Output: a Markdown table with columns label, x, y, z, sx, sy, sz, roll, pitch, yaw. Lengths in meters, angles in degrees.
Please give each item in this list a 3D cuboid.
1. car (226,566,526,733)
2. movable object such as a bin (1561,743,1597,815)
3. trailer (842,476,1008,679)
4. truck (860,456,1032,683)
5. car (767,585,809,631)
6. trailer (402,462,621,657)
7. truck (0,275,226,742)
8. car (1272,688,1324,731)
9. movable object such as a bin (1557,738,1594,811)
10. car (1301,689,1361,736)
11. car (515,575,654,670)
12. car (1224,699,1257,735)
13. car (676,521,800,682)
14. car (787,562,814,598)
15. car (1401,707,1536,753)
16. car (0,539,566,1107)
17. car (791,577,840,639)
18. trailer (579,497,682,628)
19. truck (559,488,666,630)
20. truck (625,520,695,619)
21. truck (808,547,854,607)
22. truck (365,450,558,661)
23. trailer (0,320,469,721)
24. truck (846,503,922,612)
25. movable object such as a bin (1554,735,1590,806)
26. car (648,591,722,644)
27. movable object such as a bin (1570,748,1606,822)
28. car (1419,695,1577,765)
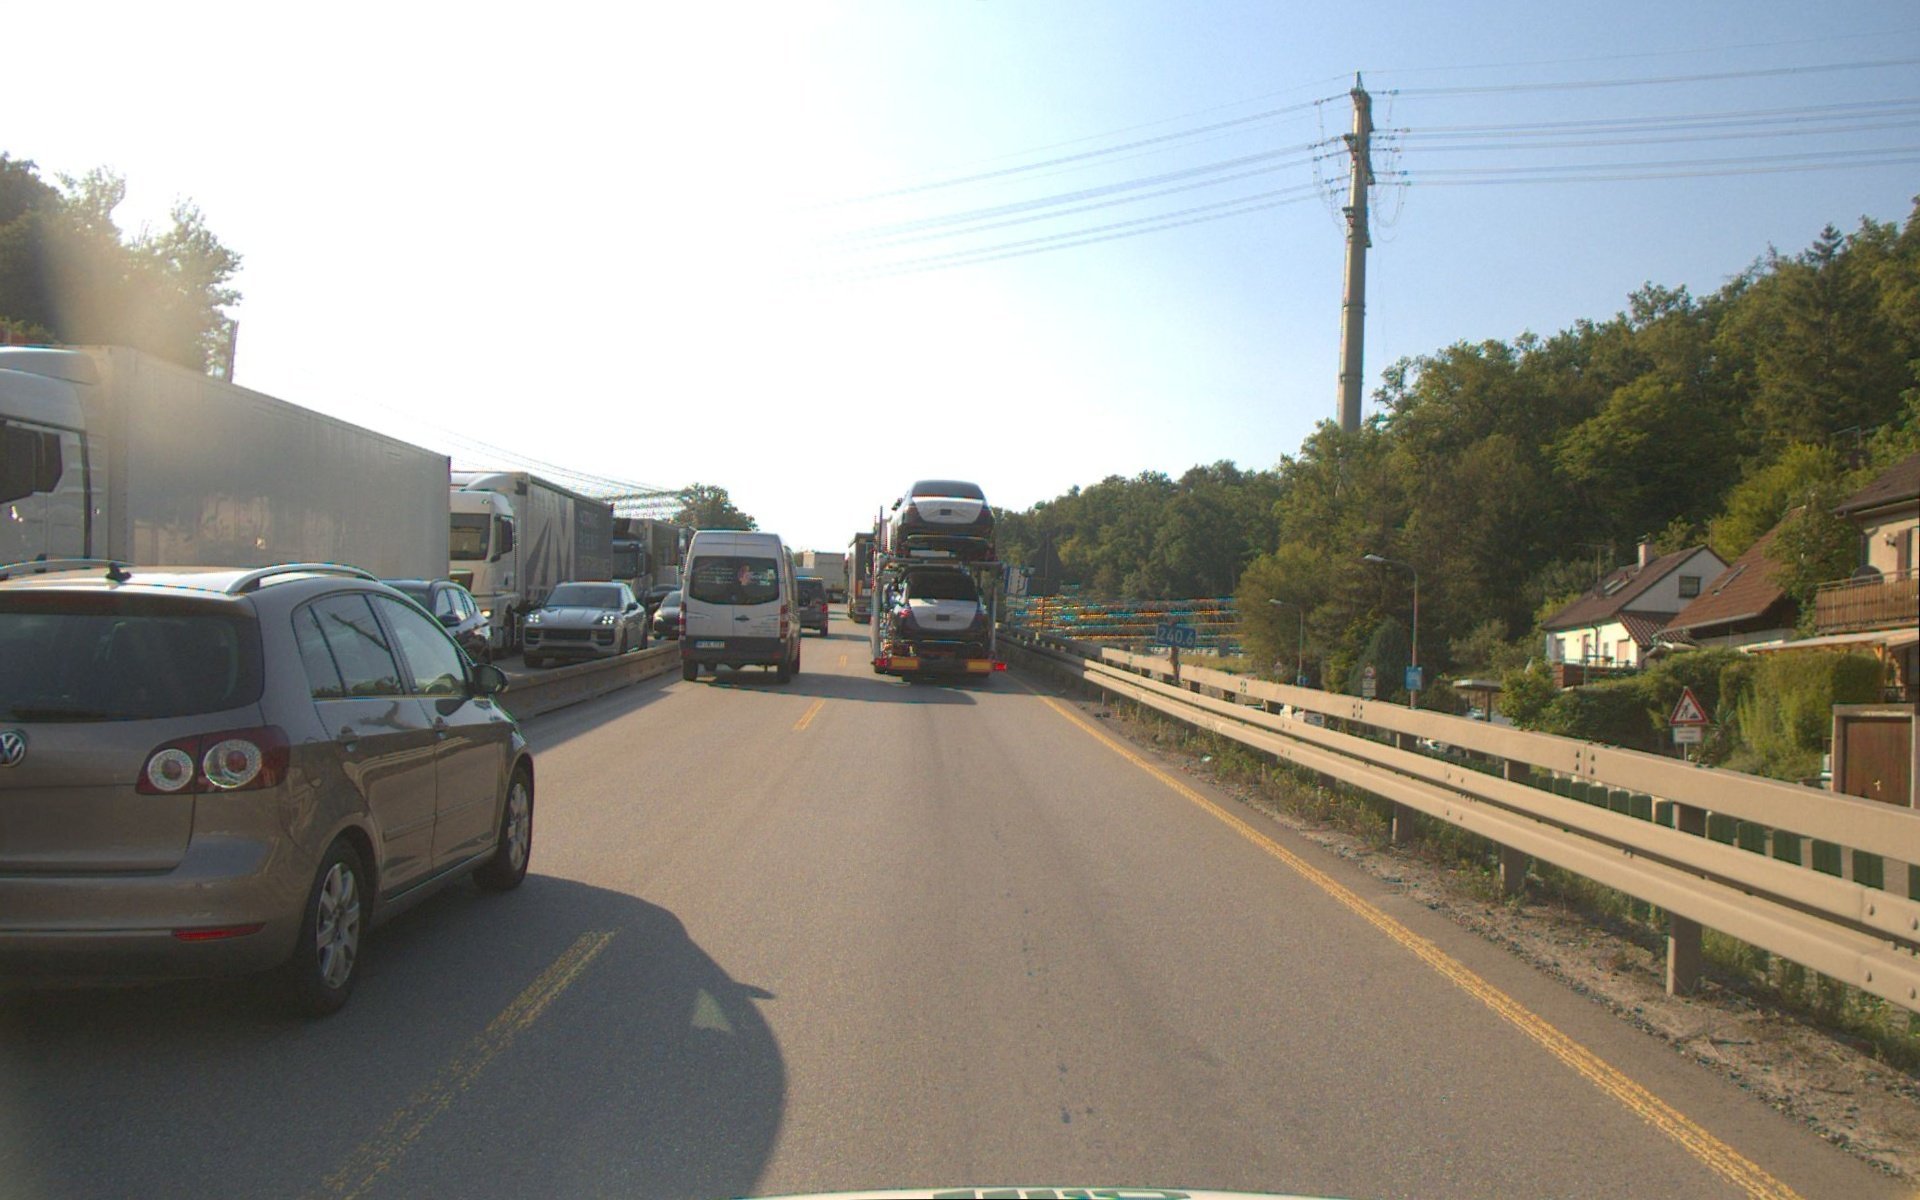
| label | x | y | z | sx | sy | sz | roll | pitch | yaw |
| --- | --- | --- | --- | --- | --- | --- | --- | --- | --- |
| car | -6.778 | 0.552 | 19.808 | 1.842 | 1.634 | 4.730 | 4 | -1 | 0 |
| movable object such as a bin | 16.167 | 4.670 | 43.205 | 0.480 | 1.798 | 0.414 | 11 | -1 | 7 |
| trailer | -1.241 | -0.425 | 41.169 | 2.819 | 4.064 | 15.259 | 1 | 0 | -6 |
| truck | -0.414 | -0.536 | 32.885 | 2.815 | 4.049 | 5.764 | 1 | 0 | -6 |
| car | -7.909 | 0.397 | 76.040 | 1.797 | 1.998 | 4.893 | 1 | -1 | -6 |
| trailer | -11.395 | -0.868 | 43.750 | 2.721 | 4.277 | 13.823 | 1 | 0 | -3 |
| truck | -10.301 | -0.863 | 17.761 | 2.406 | 4.391 | 5.472 | 1 | 0 | -1 |
| car | 17.323 | 5.602 | 84.876 | 1.823 | 2.021 | 5.053 | 1 | -2 | 2 |
| movable object such as a bin | 16.227 | 4.600 | 43.627 | 0.525 | 1.798 | 0.409 | 11 | -1 | 7 |
| car | 16.681 | 5.042 | 74.620 | 1.953 | 1.951 | 4.865 | 1 | -2 | 5 |
| car | -7.662 | 0.455 | 34.224 | 1.969 | 1.684 | 4.970 | 4 | -1 | -4 |
| car | 13.776 | 5.727 | 81.480 | 1.493 | 1.486 | 4.271 | 1 | 0 | 9 |
| car | -4.005 | 0.038 | 30.502 | 1.940 | 2.731 | 4.143 | 1 | 0 | -4 |
| car | -9.675 | -1.184 | 100.207 | 1.499 | 2.049 | 3.995 | 4 | -1 | -6 |
| car | 20.870 | 5.312 | 67.972 | 4.985 | 1.584 | 1.716 | 2 | -2 | 2 |
| car | -2.960 | 0.641 | 6.814 | 1.666 | 1.615 | 4.146 | 1 | 0 | 0 |
| car | -5.135 | 0.301 | 58.991 | 1.498 | 2.049 | 3.997 | 4 | -1 | -3 |
| trailer | -12.355 | -1.337 | 62.626 | 2.854 | 4.543 | 7.145 | 2 | 0 | -5 |
| truck | -11.962 | -1.357 | 57.314 | 2.862 | 4.593 | 5.023 | 2 | 0 | -5 |
| truck | -13.167 | -1.306 | 72.821 | 2.696 | 4.187 | 5.023 | 0 | 0 | -7 |
| truck | -10.947 | -1.953 | 140.276 | 3.577 | 4.758 | 11.686 | 2 | 1 | -4 |
| truck | -11.021 | -0.900 | 37.161 | 2.709 | 4.277 | 6.110 | 1 | 0 | -3 |
| trailer | -10.536 | -0.852 | 25.133 | 2.406 | 4.395 | 13.769 | 1 | 0 | -2 |
| truck | -3.773 | -2.005 | 79.215 | 3.165 | 4.758 | 11.686 | 2 | 1 | -4 |
| movable object such as a bin | 16.300 | 4.533 | 44.055 | 0.519 | 1.798 | 0.416 | 11 | -1 | 7 |
| car | -8.508 | 0.558 | 51.465 | 1.739 | 1.482 | 4.810 | 3 | -1 | -4 |
| movable object such as a bin | 16.073 | 4.731 | 42.322 | 0.480 | 1.798 | 0.414 | 11 | -1 | 7 |
| car | 20.533 | 4.944 | 63.282 | 5.353 | 2.303 | 2.000 | 3 | -2 | 2 |
